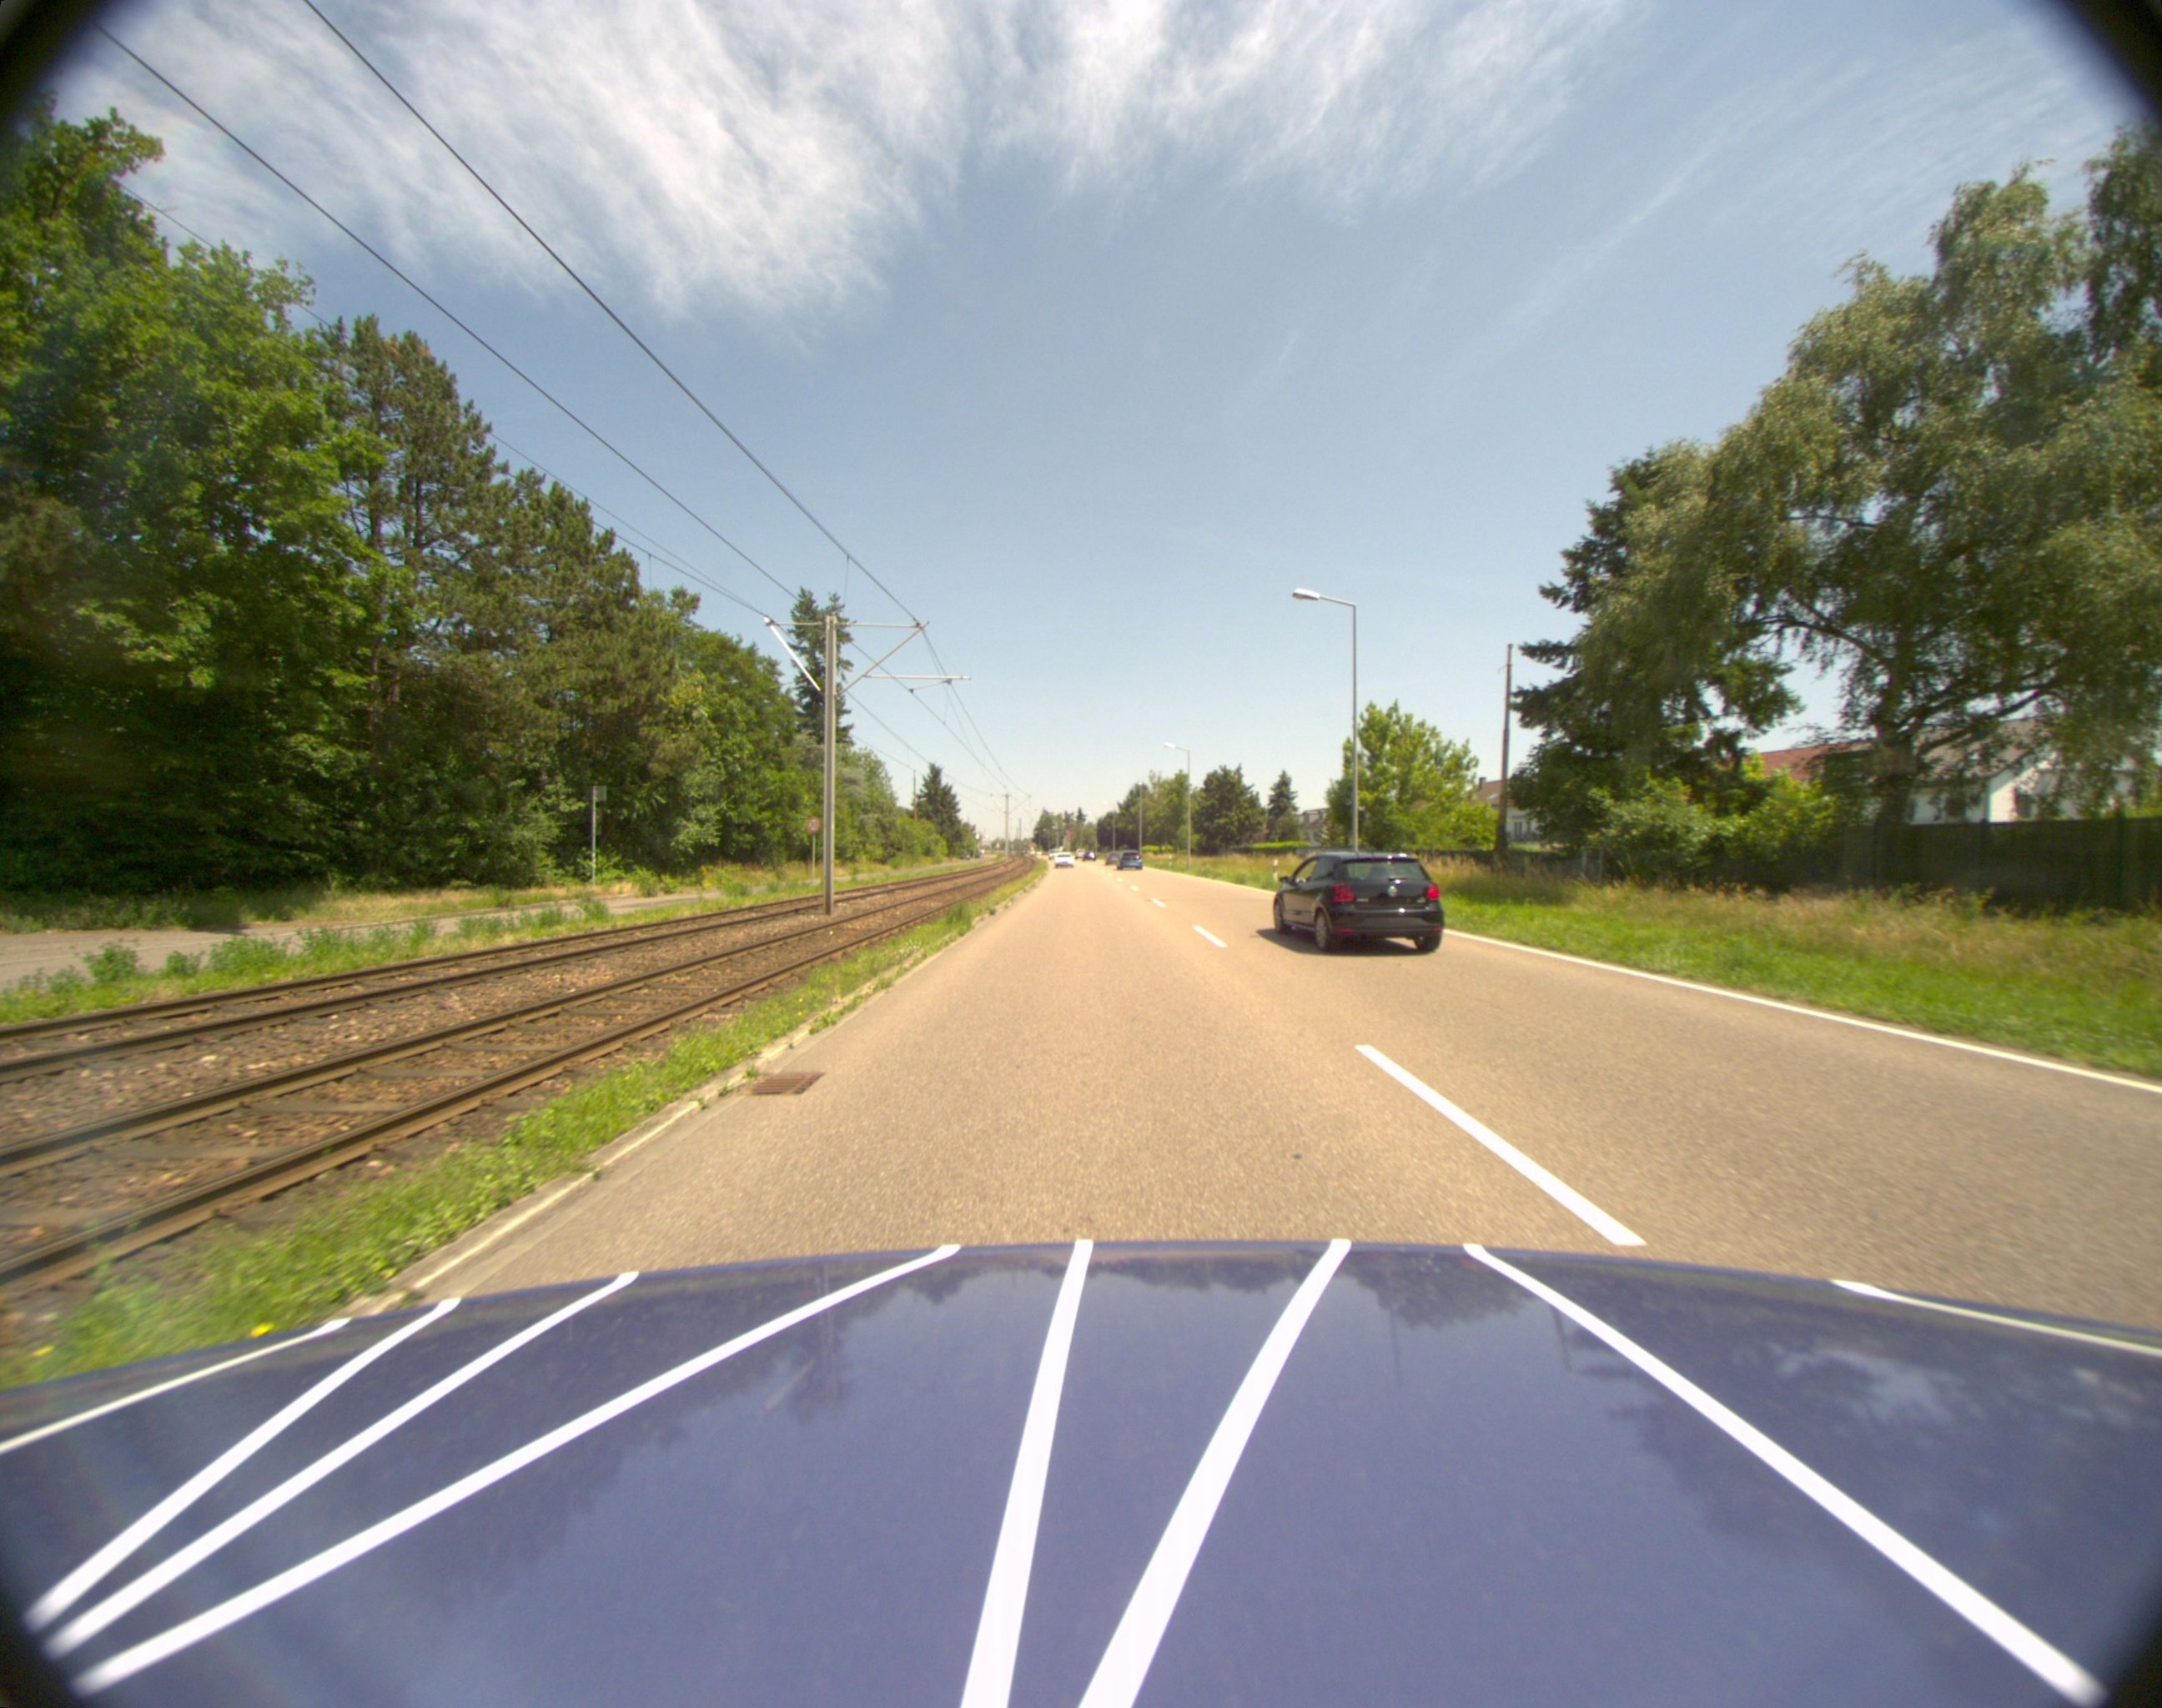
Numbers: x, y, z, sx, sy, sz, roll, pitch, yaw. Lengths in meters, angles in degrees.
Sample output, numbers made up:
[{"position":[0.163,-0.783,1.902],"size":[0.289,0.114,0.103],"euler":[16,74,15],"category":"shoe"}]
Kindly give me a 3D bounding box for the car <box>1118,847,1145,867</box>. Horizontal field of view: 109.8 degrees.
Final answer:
[{"position":[3.978,0.203,60.586],"size":[1.820,1.496,3.999],"euler":[-1,1,-1],"category":"car"}]

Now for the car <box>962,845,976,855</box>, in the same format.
[{"position":[-20.758,-0.769,140.958],"size":[1.999,1.711,3.998],"euler":[-3,1,-1],"category":"car"}]

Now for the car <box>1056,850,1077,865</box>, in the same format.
[{"position":[-1.386,0.325,74.016],"size":[1.954,1.467,4.361],"euler":[0,1,0],"category":"car"}]

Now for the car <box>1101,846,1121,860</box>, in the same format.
[{"position":[3.159,-0.089,80.280],"size":[1.762,1.414,4.322],"euler":[-1,1,-1],"category":"car"}]

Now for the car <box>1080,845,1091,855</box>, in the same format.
[{"position":[0.762,-0.712,133.432],"size":[1.844,1.750,4.931],"euler":[-1,1,-1],"category":"car"}]

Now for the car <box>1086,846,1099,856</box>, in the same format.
[{"position":[1.633,-0.475,110.015],"size":[1.740,1.487,4.828],"euler":[0,1,-1],"category":"car"}]

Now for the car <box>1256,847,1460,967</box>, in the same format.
[{"position":[4.117,0.685,12.010],"size":[1.689,1.561,3.966],"euler":[-1,1,-1],"category":"car"}]

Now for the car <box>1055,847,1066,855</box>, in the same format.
[{"position":[-3.668,-0.519,138.142],"size":[1.891,1.456,3.998],"euler":[-1,1,-3],"category":"car"}]

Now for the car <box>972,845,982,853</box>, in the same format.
[{"position":[-23.316,-1.109,170.639],"size":[1.947,1.685,3.997],"euler":[-3,1,-6],"category":"car"}]
